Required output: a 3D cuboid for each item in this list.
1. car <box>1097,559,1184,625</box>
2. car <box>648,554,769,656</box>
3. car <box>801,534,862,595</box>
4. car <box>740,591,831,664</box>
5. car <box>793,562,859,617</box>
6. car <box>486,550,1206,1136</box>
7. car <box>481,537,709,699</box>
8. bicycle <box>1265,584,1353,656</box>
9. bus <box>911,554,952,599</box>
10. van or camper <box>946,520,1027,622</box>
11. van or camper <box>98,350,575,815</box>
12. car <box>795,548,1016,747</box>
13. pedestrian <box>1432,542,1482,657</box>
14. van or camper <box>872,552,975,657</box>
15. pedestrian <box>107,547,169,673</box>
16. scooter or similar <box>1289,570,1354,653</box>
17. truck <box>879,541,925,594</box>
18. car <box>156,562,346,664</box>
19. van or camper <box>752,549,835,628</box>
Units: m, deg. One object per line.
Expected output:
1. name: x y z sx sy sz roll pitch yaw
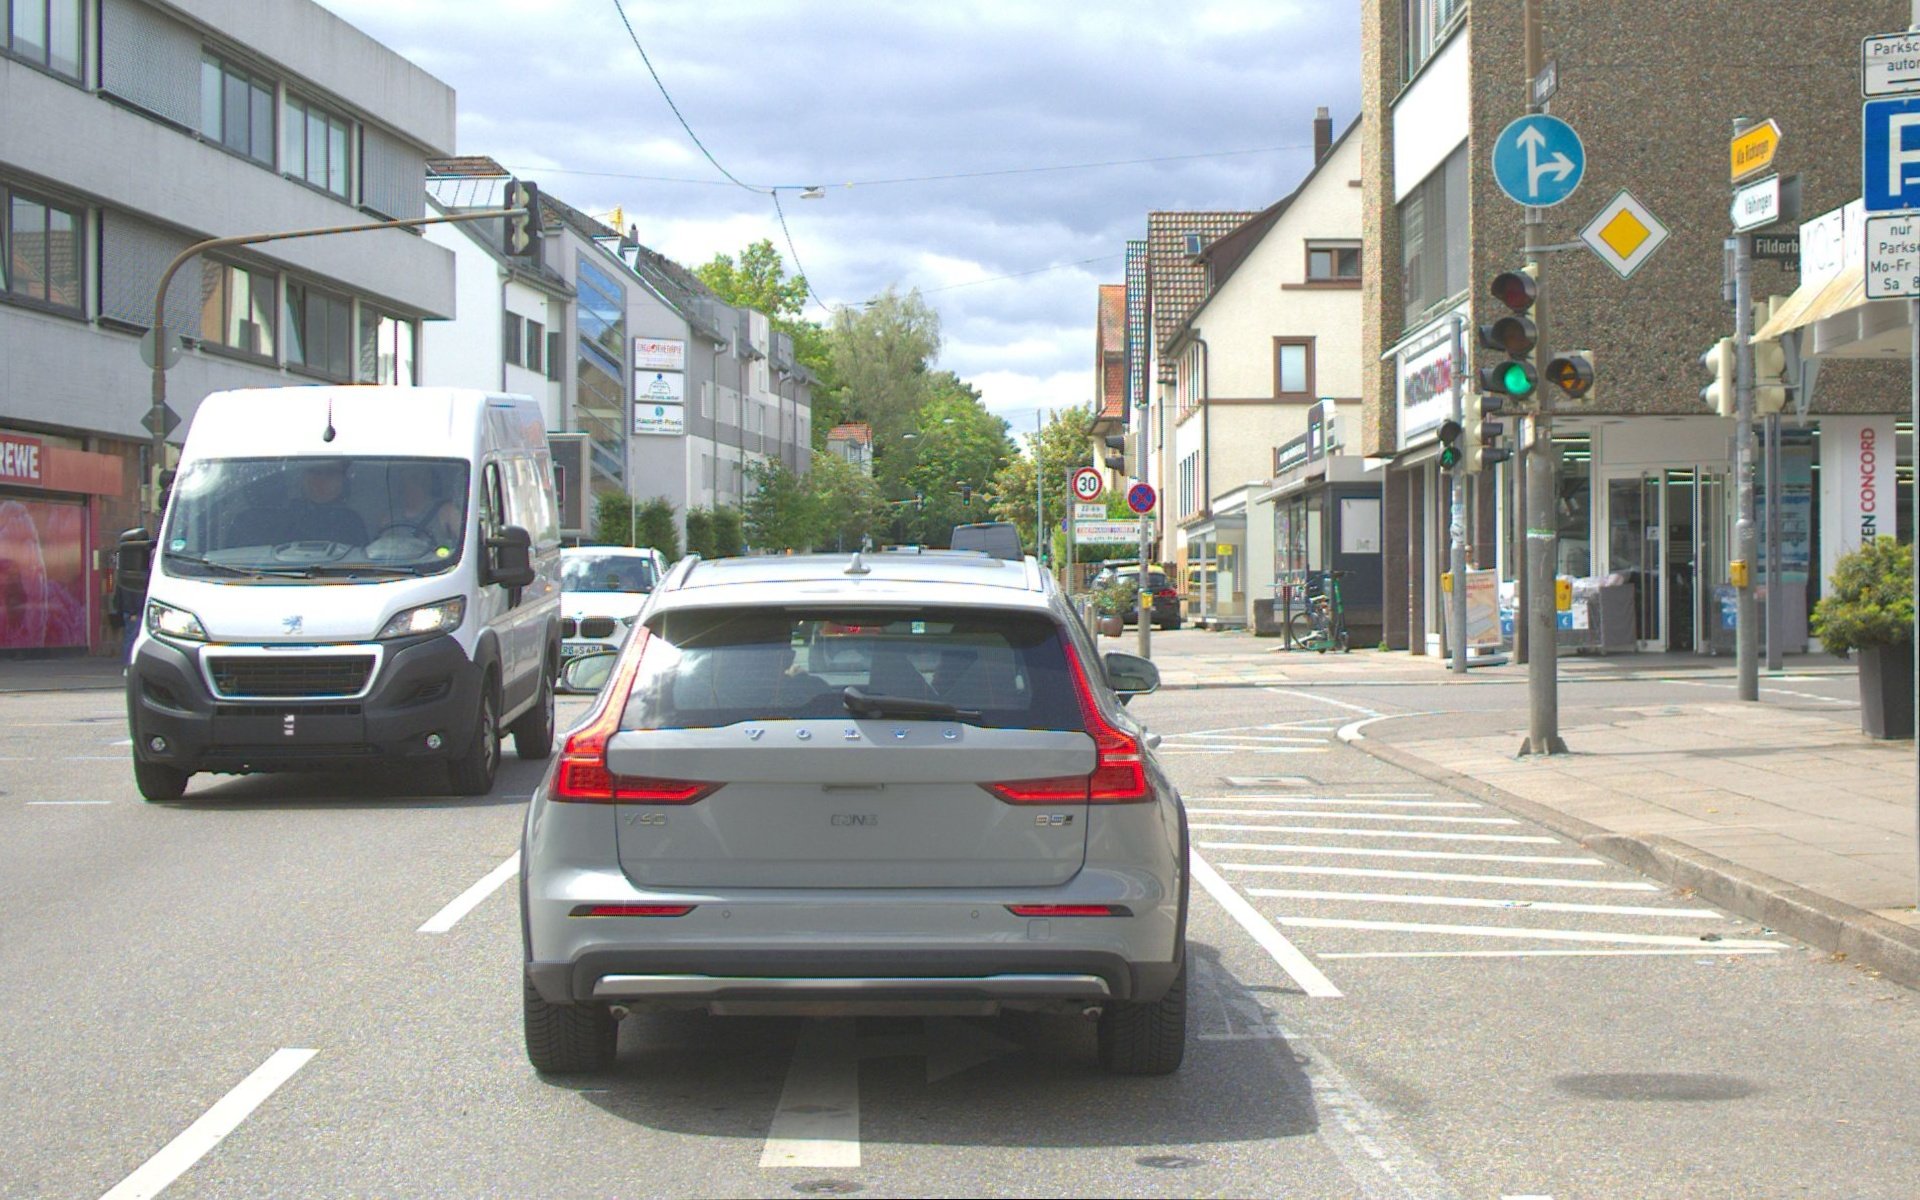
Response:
1. car: 4.236 -0.164 81.296 1.710 1.459 4.000 1 -1 -2
2. car: -4.072 0.074 56.119 1.789 1.584 4.101 0 0 -2
3. car: -4.162 -1.131 111.735 1.838 1.911 4.156 1 0 0
4. car: -3.699 0.571 73.305 1.683 1.492 3.967 -1 0 1
5. car: -3.865 -0.315 99.497 1.668 1.548 4.215 0 0 1
6. car: -0.306 0.590 10.770 1.836 1.481 4.000 0 1 0
7. car: -3.936 0.164 37.734 1.780 1.634 4.220 -2 1 3
8. bicycle: 5.702 0.318 56.304 0.554 1.140 2.301 -1 0 -18
9. bus: -1.714 -1.399 206.549 2.276 2.659 7.429 0 0 1
10. van or camper: 0.740 -0.793 93.195 2.123 2.677 4.781 -1 0 1
11. van or camper: -3.765 -0.154 21.815 2.148 2.547 5.438 -1 1 -2
12. car: -0.420 0.360 27.693 1.650 1.477 3.607 1 0 0
13. pedestrian: 6.383 -0.006 44.151 0.504 1.454 0.499 -3 -1 14
14. van or camper: -0.663 0.112 62.905 1.819 1.829 4.000 0 -2 0
15. pedestrian: -10.792 0.129 45.149 0.619 1.636 0.660 -1 0 1
16. scooter or similar: 5.599 0.190 53.342 0.340 1.249 1.246 -3 0 -26
17. truck: -3.202 -1.785 190.726 2.276 2.877 7.079 -1 0 1
18. car: -10.755 0.184 52.442 1.785 1.459 4.086 1 0 4
19. van or camper: -4.151 -0.308 86.283 1.864 1.891 4.692 0 1 0
